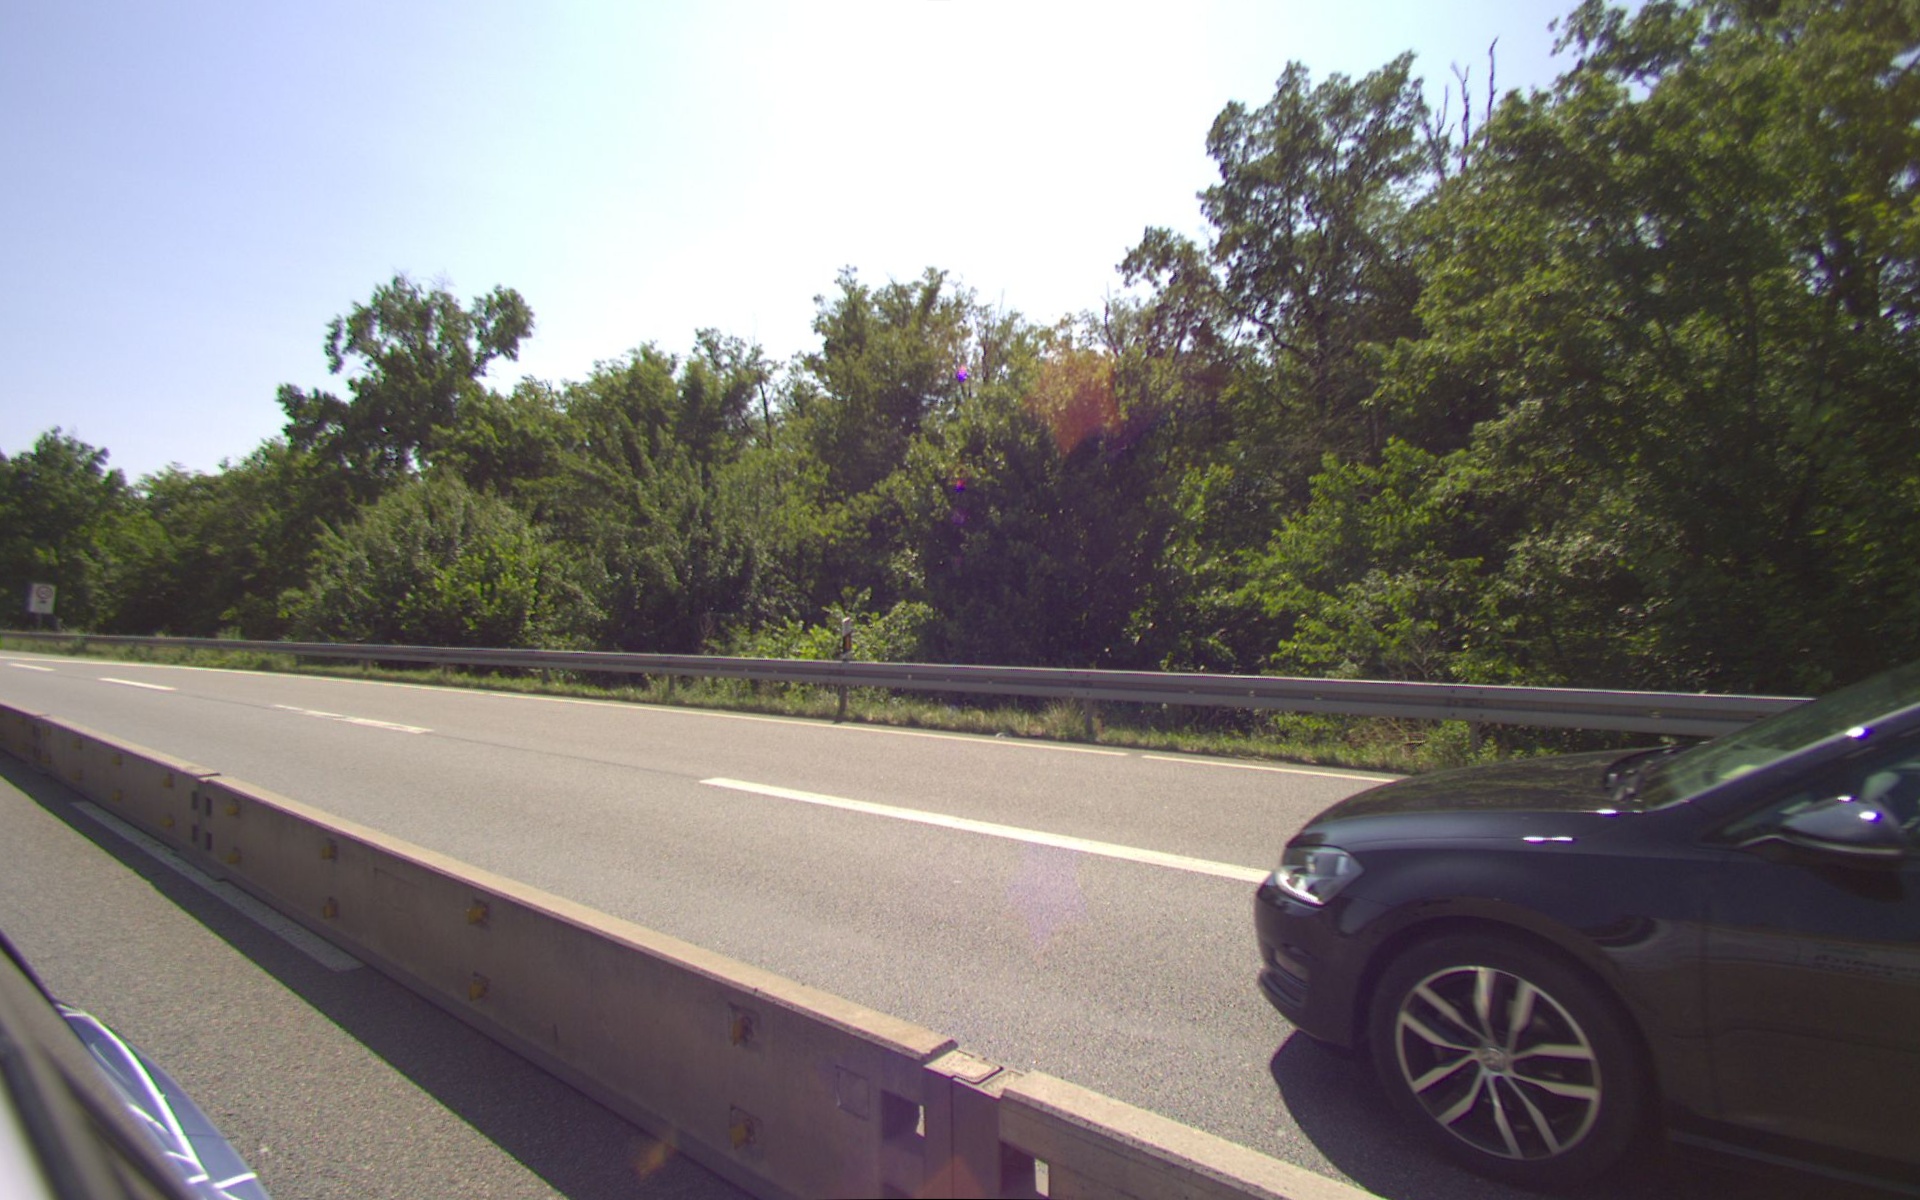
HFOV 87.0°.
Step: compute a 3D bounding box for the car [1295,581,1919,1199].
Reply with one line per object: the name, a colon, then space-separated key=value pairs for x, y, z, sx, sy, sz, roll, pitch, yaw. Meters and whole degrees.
car: x=3.068 y=0.667 z=2.140 sx=4.106 sy=1.435 sz=1.797 roll=-1 pitch=-1 yaw=41
